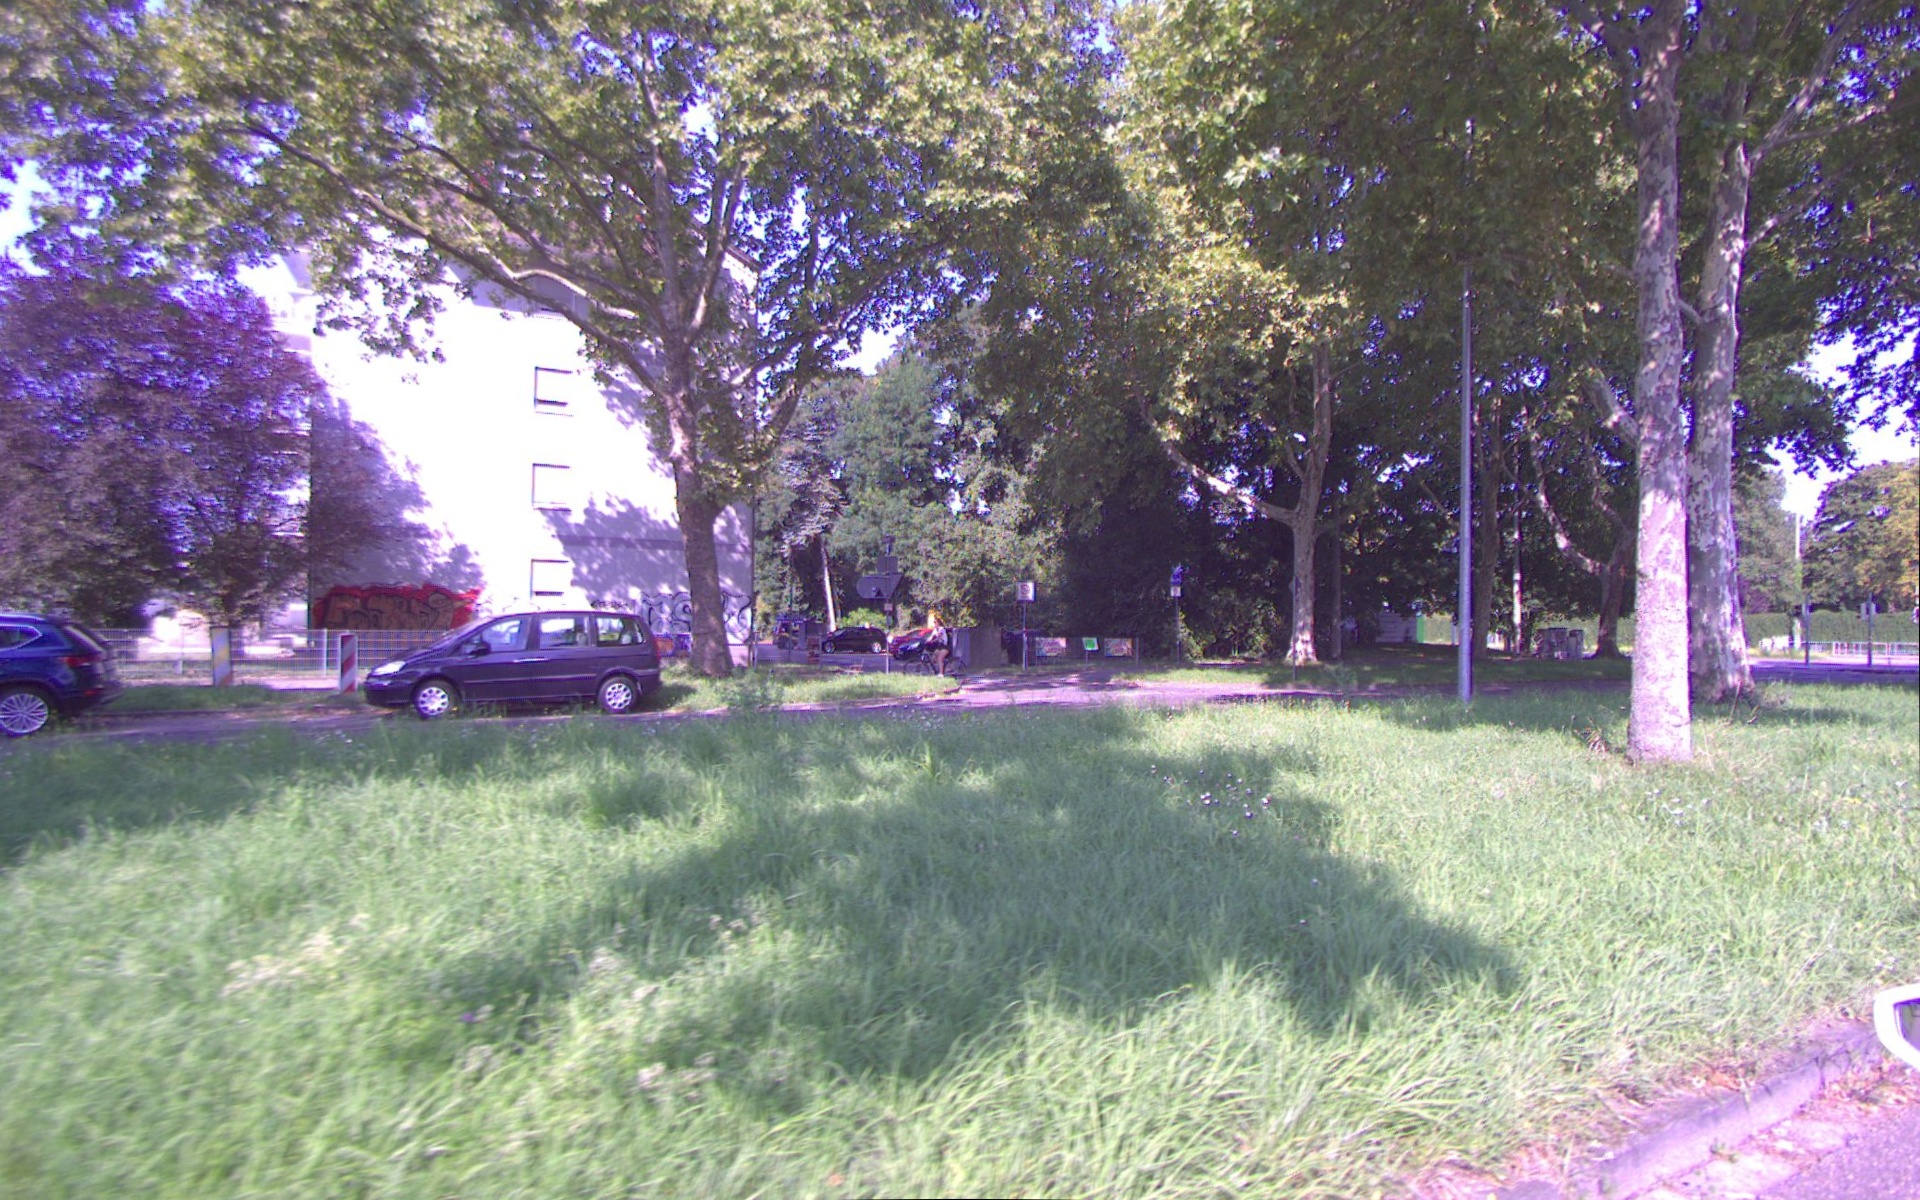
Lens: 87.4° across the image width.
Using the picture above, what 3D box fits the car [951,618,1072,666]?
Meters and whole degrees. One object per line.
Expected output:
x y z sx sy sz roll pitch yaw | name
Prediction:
1.973 1.623 38.516 4.328 1.749 1.692 2 -1 -24 | car

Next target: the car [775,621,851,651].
-8.294 2.025 56.765 3.945 1.588 1.692 2 -1 -24 | car

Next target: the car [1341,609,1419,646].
25.083 1.653 59.971 4.662 2.165 2.165 2 -2 -35 | car

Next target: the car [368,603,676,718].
-7.379 0.996 17.168 4.603 1.755 1.692 2 -1 -29 | car

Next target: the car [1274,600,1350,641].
21.886 1.285 62.441 4.662 2.472 2.165 2 -2 -35 | car

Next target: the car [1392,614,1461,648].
32.456 2.178 69.817 5.070 2.293 2.017 2 -1 -35 | car

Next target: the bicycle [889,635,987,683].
-0.555 1.569 26.725 2.732 1.215 0.541 2 -1 -33 | bicycle

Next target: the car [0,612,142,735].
-13.569 0.939 13.290 3.951 1.588 1.692 2 -2 -29 | car

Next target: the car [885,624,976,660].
-1.400 1.995 47.565 3.945 1.588 1.692 2 -1 -24 | car

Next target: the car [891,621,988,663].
-0.900 1.856 44.393 3.945 1.749 1.692 2 -1 -24 | car

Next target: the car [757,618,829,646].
-9.946 1.889 59.988 3.945 1.588 1.692 2 -1 -24 | car

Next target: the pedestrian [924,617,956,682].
-0.528 1.314 26.754 0.651 1.713 0.540 2 -1 -32 | pedestrian

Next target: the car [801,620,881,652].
-6.375 1.927 53.852 3.945 1.588 1.692 2 -1 -24 | car

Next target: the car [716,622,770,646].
-17.661 2.748 81.655 3.949 1.744 1.687 3 -2 -27 | car
